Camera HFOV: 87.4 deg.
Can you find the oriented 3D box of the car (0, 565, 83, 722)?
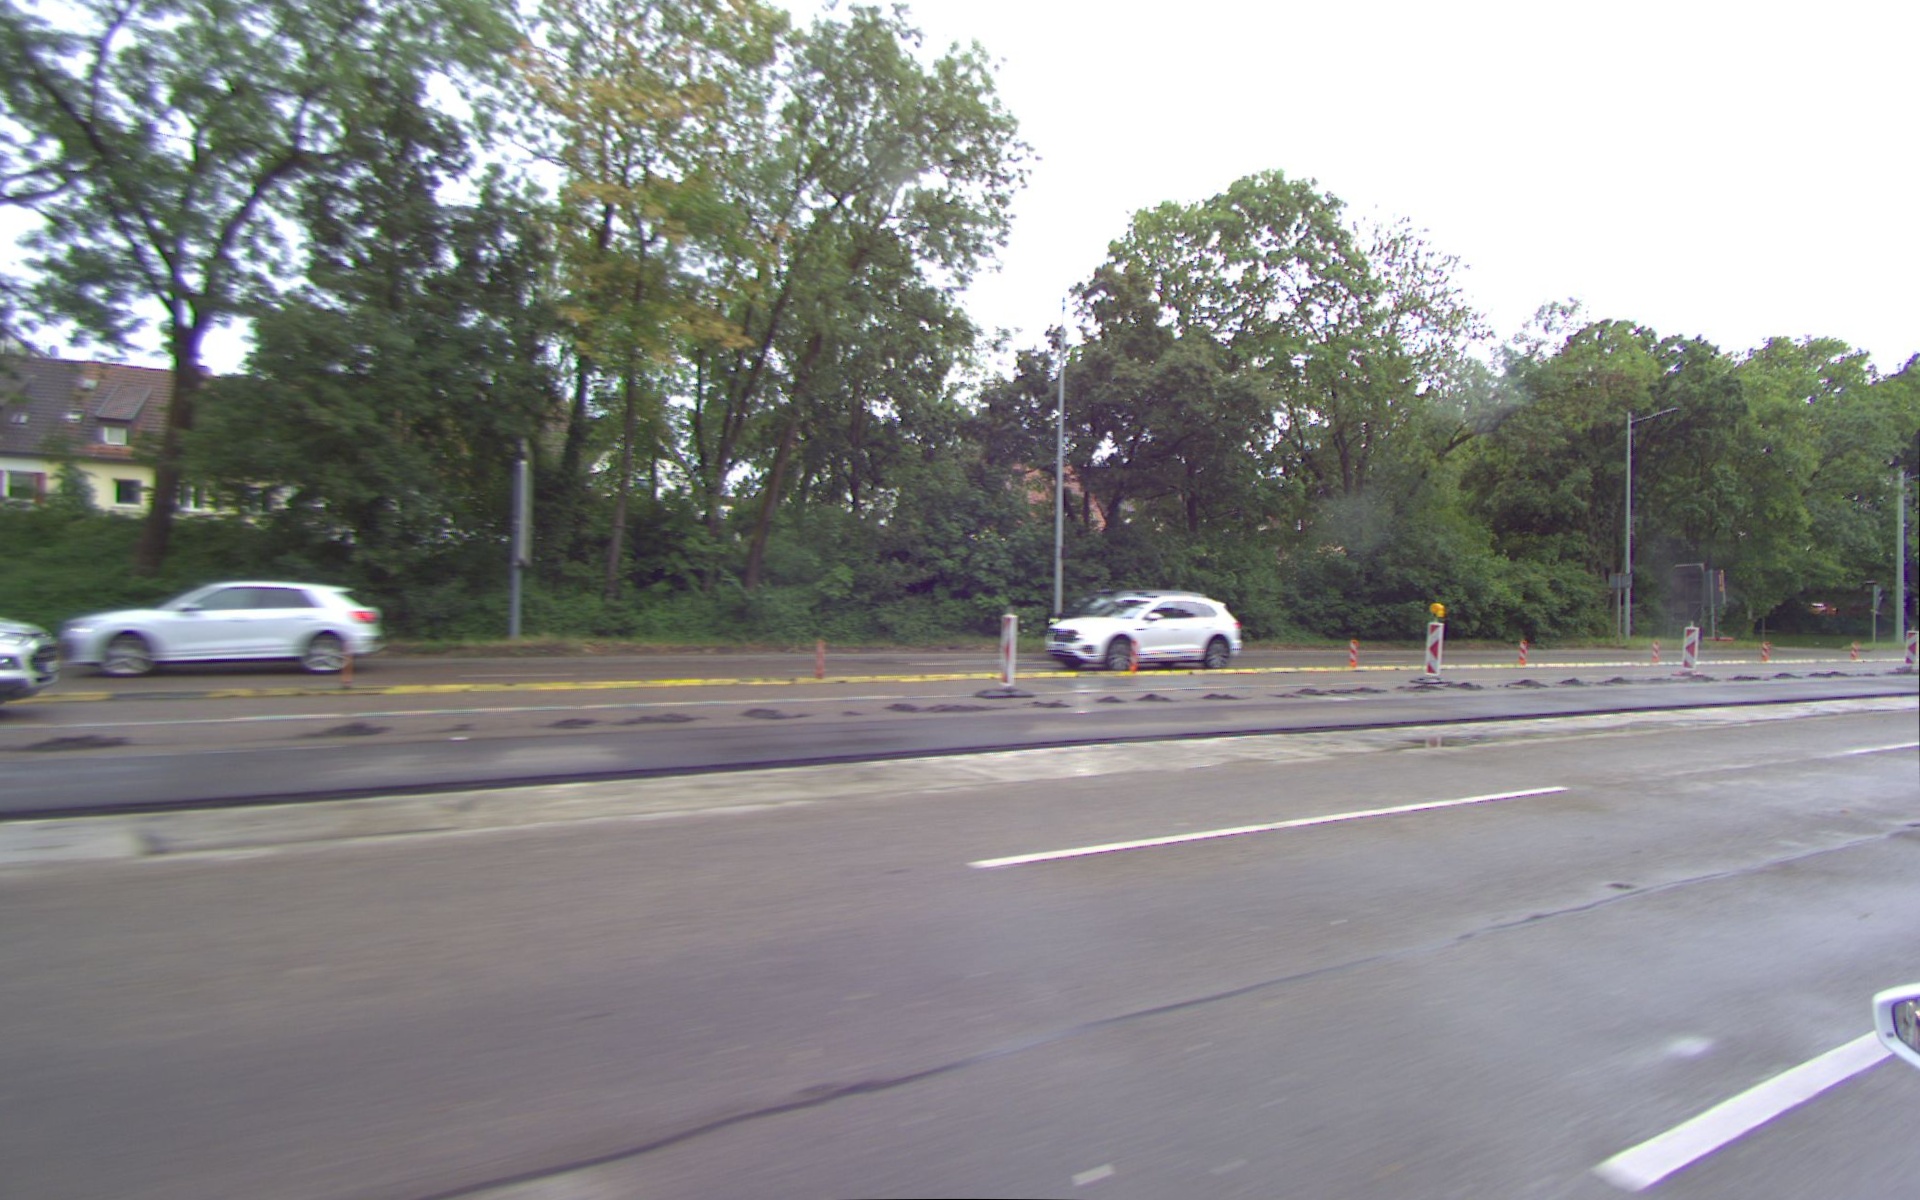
[{"bbox_3d":[-11.866,0.396,10.066,4.312,1.585,1.879,1,1,-30],"label":"car"}]

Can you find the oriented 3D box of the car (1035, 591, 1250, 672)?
[{"bbox_3d":[4.252,0.699,23.174,4.837,1.683,1.880,1,0,-31],"label":"car"}]

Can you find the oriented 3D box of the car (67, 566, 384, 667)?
[{"bbox_3d":[-12.048,0.294,16.859,4.101,1.516,1.671,1,-1,-31],"label":"car"}]
